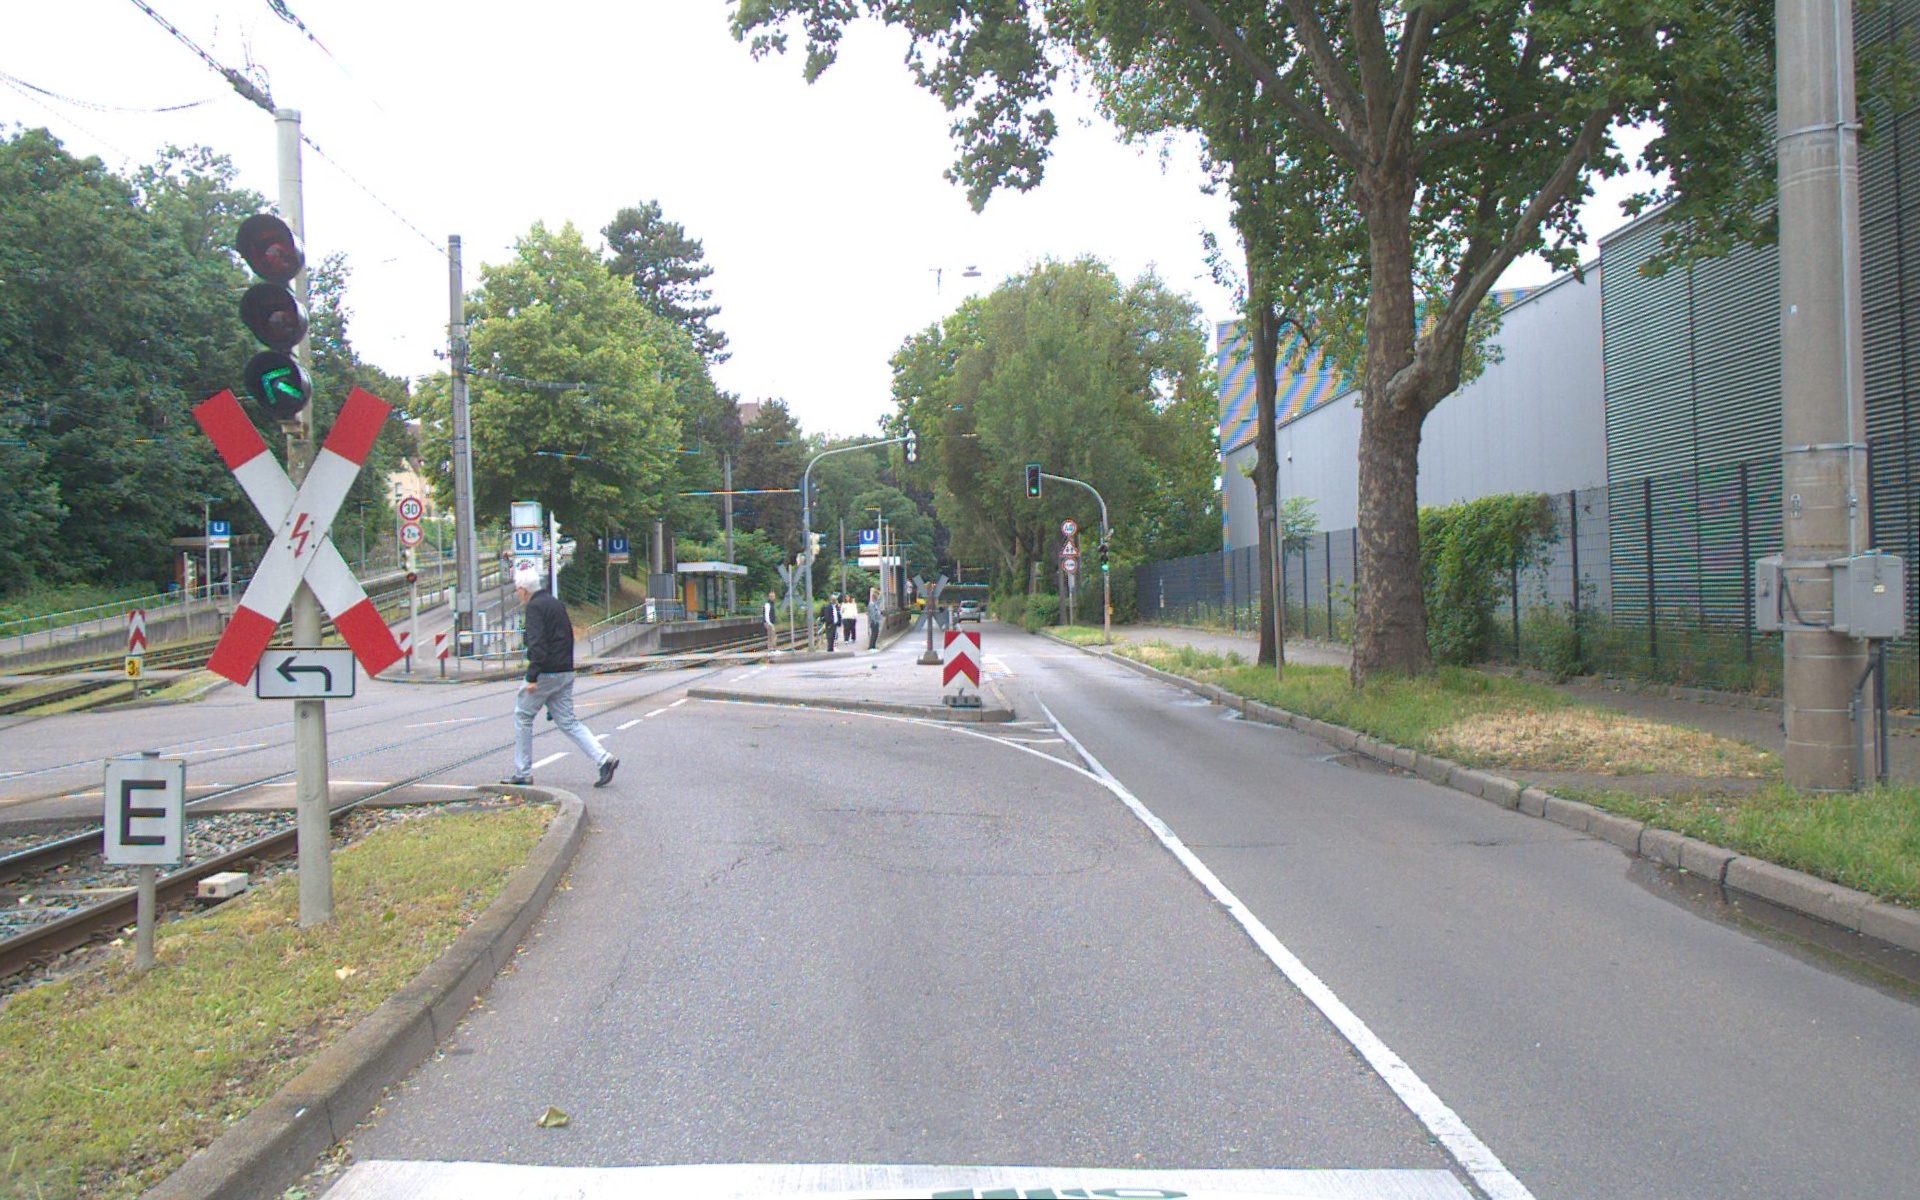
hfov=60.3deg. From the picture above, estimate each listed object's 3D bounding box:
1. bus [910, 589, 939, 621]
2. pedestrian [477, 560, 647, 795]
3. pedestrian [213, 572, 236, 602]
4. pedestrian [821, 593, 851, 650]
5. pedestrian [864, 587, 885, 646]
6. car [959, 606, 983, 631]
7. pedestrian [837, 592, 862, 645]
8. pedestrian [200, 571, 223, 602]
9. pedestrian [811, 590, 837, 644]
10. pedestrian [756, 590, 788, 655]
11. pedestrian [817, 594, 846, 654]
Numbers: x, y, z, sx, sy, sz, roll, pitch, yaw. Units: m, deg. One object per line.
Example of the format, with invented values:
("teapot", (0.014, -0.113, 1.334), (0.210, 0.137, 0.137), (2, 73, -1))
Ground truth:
("bus", (-4.305, 0.633, 201.507), (2.677, 3.689, 8.946), (1, 0, 4))
("pedestrian", (-3.193, 0.591, 13.256), (1.099, 1.791, 0.810), (0, -1, 38))
("pedestrian", (-33.563, -0.598, 75.498), (0.757, 1.349, 0.785), (1, -1, -9))
("pedestrian", (-3.708, 0.634, 49.395), (0.665, 1.694, 0.738), (1, -1, 14))
("pedestrian", (-2.627, 0.504, 50.744), (0.538, 1.789, 0.738), (1, -1, 4))
("car", (0.796, 1.375, 124.415), (1.708, 1.626, 4.000), (1, 2, -1))
("pedestrian", (-3.575, 0.592, 53.487), (0.722, 1.694, 0.680), (1, -1, -11))
("pedestrian", (-33.612, -0.604, 74.261), (0.757, 1.349, 0.786), (1, 2, -9))
("pedestrian", (-4.367, 0.548, 53.137), (0.722, 1.694, 0.680), (1, -1, -11))
("pedestrian", (-5.396, 0.642, 47.456), (0.789, 1.853, 0.667), (1, -1, -16))
("pedestrian", (-3.654, 0.671, 47.000), (0.720, 1.694, 0.682), (1, -1, 1))
